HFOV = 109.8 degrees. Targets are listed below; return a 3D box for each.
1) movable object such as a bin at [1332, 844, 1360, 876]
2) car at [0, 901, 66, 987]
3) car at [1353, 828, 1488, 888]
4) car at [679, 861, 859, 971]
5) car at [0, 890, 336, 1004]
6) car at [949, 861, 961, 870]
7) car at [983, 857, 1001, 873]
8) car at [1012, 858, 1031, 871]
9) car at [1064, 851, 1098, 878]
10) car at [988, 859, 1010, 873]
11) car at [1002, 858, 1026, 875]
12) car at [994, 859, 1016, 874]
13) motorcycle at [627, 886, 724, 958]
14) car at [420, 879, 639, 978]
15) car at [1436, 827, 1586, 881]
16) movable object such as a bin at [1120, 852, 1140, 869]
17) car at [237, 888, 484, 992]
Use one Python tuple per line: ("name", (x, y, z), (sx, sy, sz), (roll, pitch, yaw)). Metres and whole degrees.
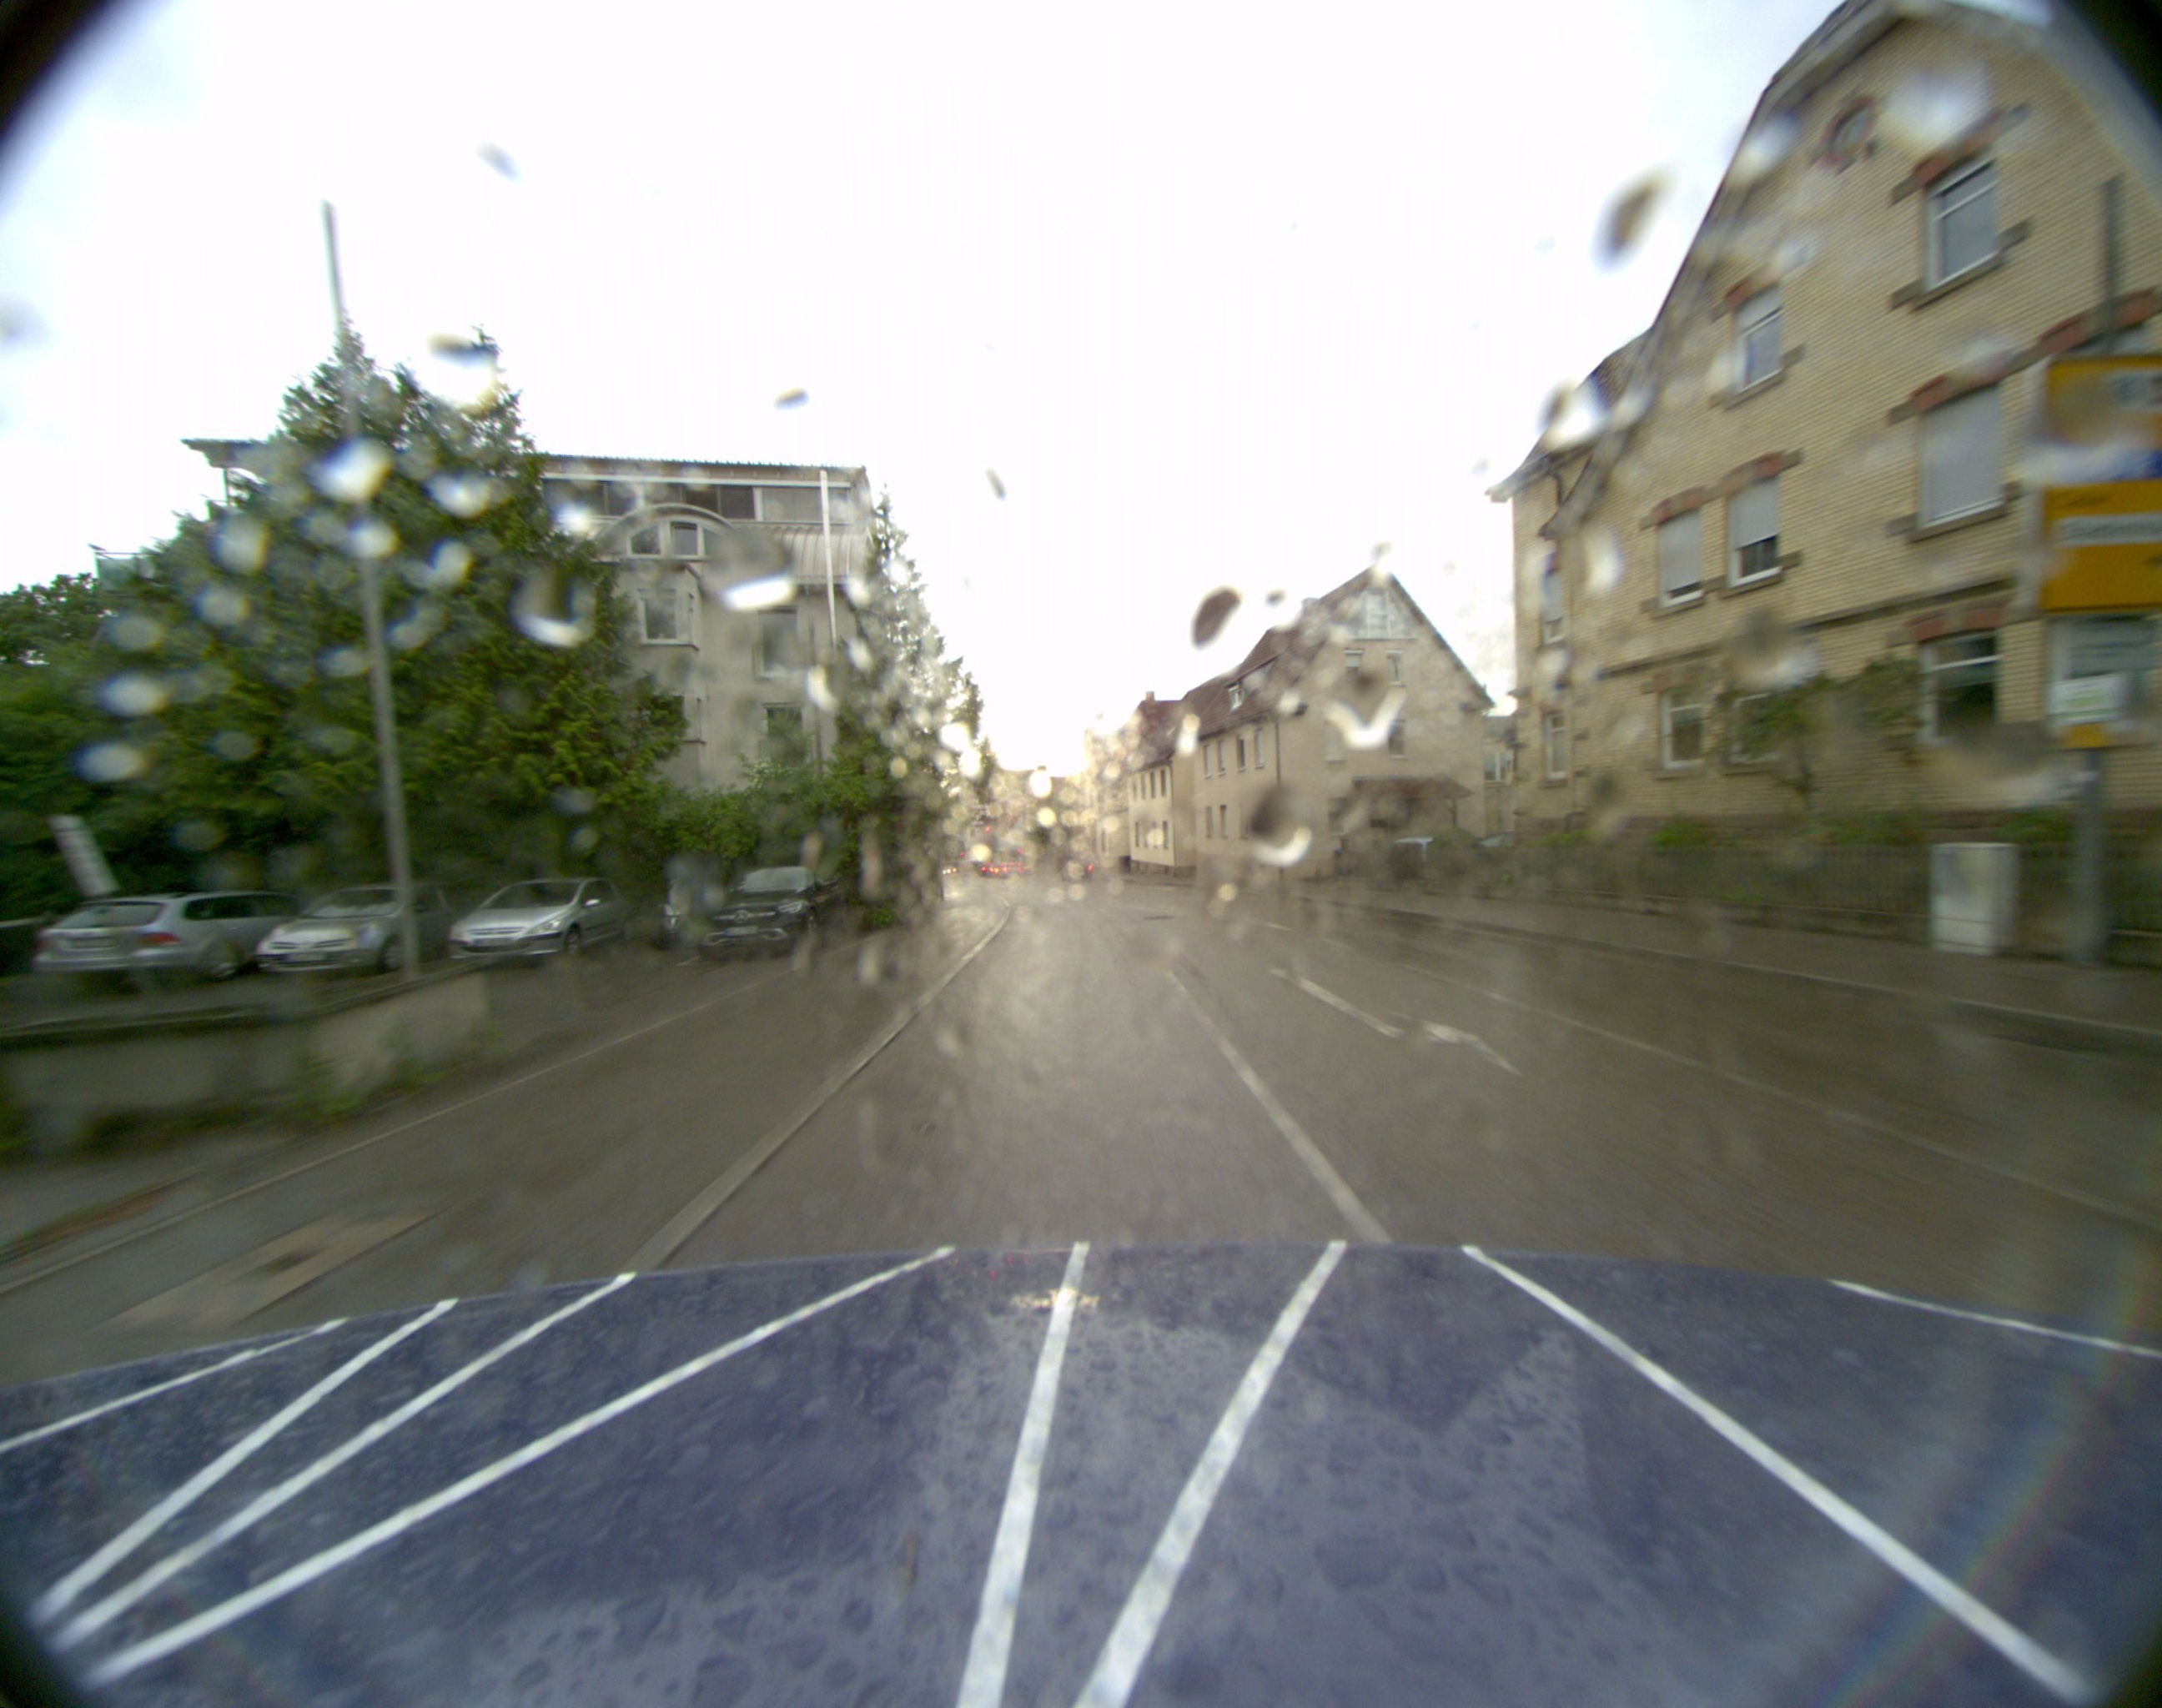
("movable object such as a bin", (10.449, 0.233, 29.974), (0.758, 1.240, 0.649), (-3, 1, -10))
("car", (-19.211, 1.587, 11.927), (1.764, 1.427, 3.717), (-2, 0, -8))
("car", (10.012, 0.131, 22.773), (1.776, 1.494, 3.880), (-5, 0, -9))
("car", (-5.658, 1.002, 14.492), (1.786, 1.561, 4.725), (-5, 1, -6))
("car", (-14.888, 1.422, 12.708), (1.764, 1.427, 3.317), (-2, 0, -8))
("car", (-23.332, 2.158, 140.692), (1.729, 1.538, 3.995), (-4, 0, -15))
("car", (-10.738, 1.317, 91.545), (1.854, 1.653, 4.216), (-4, 0, -11))
("car", (-7.206, 1.266, 91.951), (1.743, 1.346, 4.056), (-4, 0, -12))
("car", (-0.065, 0.649, 51.239), (1.750, 1.562, 3.811), (-6, 1, -6))
("car", (-9.143, 1.345, 84.456), (1.947, 1.432, 5.011), (-4, 0, -12))
("car", (-6.291, 1.153, 70.588), (1.805, 1.431, 4.685), (-4, 0, -9))
("car", (-7.916, 1.259, 78.574), (1.805, 1.431, 4.685), (-4, 0, -11))
("motorcycle", (-7.924, 1.282, 15.002), (0.854, 1.170, 2.491), (-3, 0, -9))
("car", (-10.096, 1.261, 14.331), (1.744, 1.427, 4.021), (-2, 0, -11))
("car", (12.738, 0.021, 22.802), (1.776, 1.359, 3.879), (-5, 0, -10))
("movable object such as a bin", (3.823, 0.526, 59.298), (1.284, 1.259, 1.049), (-4, 0, -12))
("car", (-12.556, 1.414, 13.550), (1.612, 1.427, 3.316), (-2, 0, -11))
